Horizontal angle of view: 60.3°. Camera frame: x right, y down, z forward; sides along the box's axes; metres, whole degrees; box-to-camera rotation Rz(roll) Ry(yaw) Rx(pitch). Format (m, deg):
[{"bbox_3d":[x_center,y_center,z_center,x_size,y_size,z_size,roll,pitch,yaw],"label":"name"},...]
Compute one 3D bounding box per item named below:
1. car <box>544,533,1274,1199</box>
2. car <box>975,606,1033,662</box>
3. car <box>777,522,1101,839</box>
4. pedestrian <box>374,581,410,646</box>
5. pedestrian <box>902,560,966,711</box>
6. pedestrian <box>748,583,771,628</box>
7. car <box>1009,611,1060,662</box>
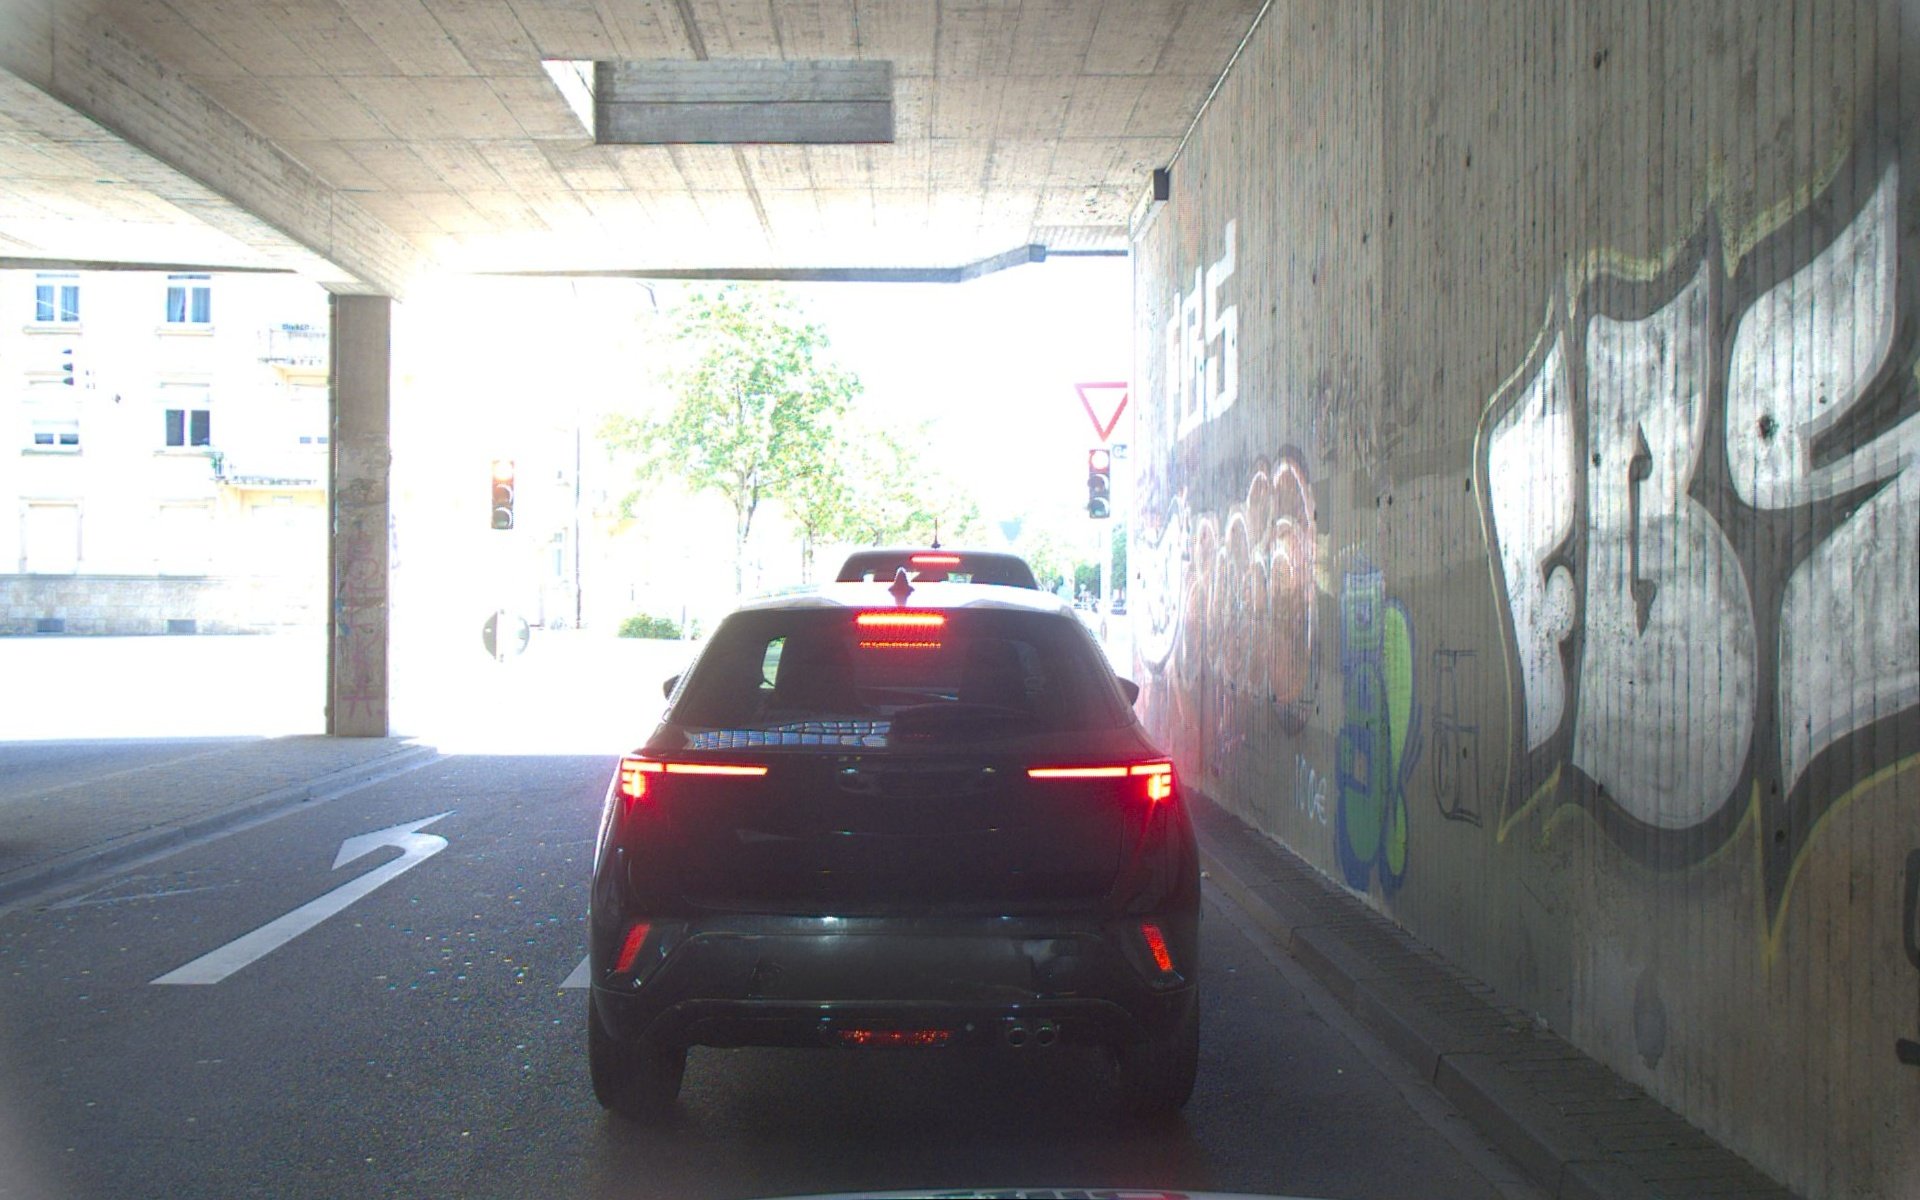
[{"bbox_3d":[-0.148,0.608,5.981,1.729,1.598,4.000,1,1,-1],"label":"car"},{"bbox_3d":[1.701,1.261,62.306,1.951,2.004,4.166,1,0,4],"label":"car"},{"bbox_3d":[-0.153,0.474,11.975,1.953,1.904,3.999,0,0,-1],"label":"car"},{"bbox_3d":[-14.714,0.340,42.864,0.658,1.666,0.740,1,-1,-1],"label":"pedestrian"},{"bbox_3d":[-0.314,0.417,19.834,0.716,1.764,0.874,1,-1,-1],"label":"pedestrian"},{"bbox_3d":[-9.515,0.249,78.619,0.873,2.124,0.808,1,-1,7],"label":"pedestrian"},{"bbox_3d":[3.120,1.470,68.443,1.951,2.004,4.166,1,0,4],"label":"car"}]
